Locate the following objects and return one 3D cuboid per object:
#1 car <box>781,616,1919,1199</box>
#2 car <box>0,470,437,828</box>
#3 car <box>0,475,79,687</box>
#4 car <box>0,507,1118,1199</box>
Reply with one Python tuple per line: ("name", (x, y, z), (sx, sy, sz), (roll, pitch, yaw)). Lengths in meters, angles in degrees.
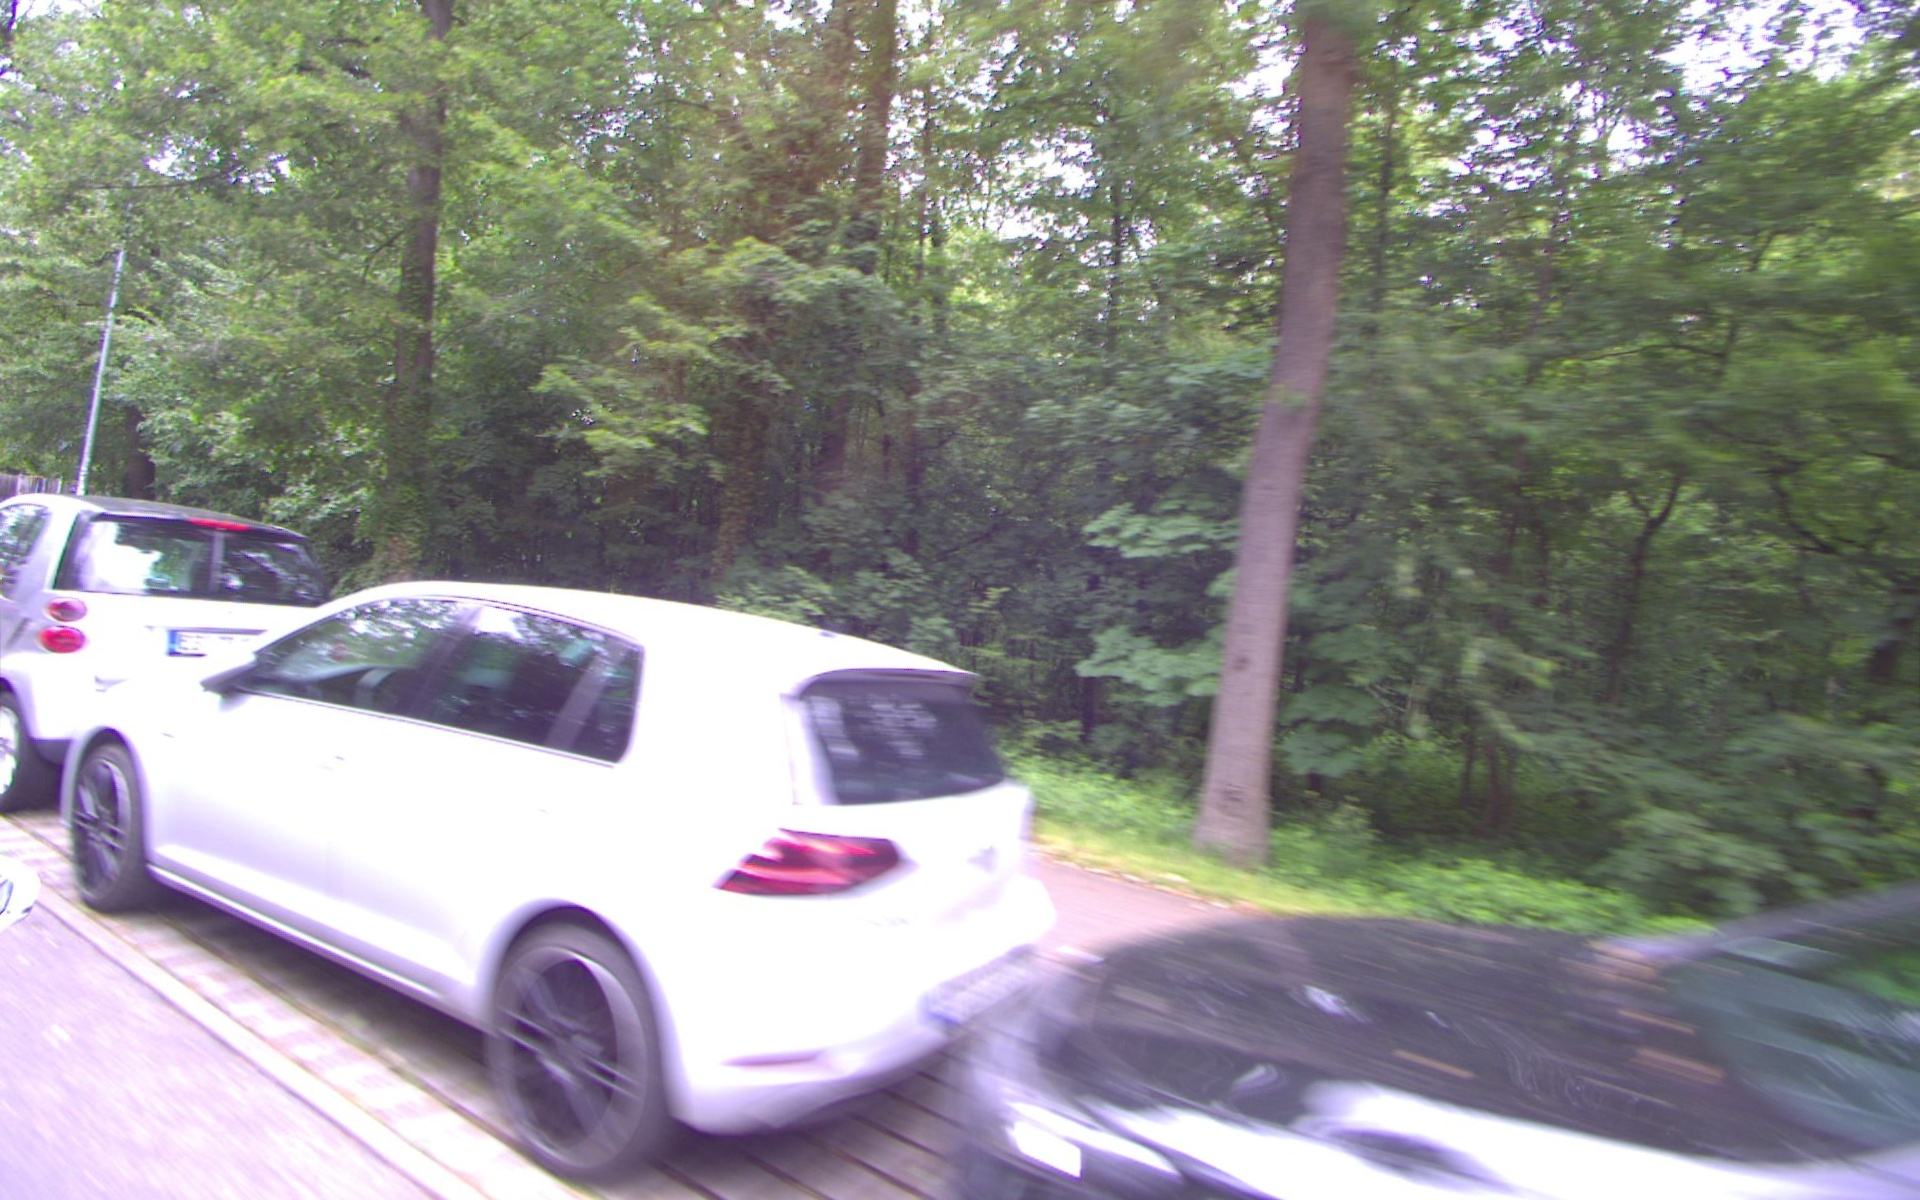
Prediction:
("car", (2.088, 1.103, 1.371), (4.527, 1.491, 1.740), (7, -2, 30))
("car", (-5.359, 0.118, 6.288), (3.940, 1.586, 1.740), (7, -2, 31))
("car", (-9.405, -0.418, 8.532), (4.312, 1.607, 1.739), (7, -2, 34))
("car", (-1.694, 0.646, 3.900), (4.082, 1.441, 1.741), (7, -2, 28))
